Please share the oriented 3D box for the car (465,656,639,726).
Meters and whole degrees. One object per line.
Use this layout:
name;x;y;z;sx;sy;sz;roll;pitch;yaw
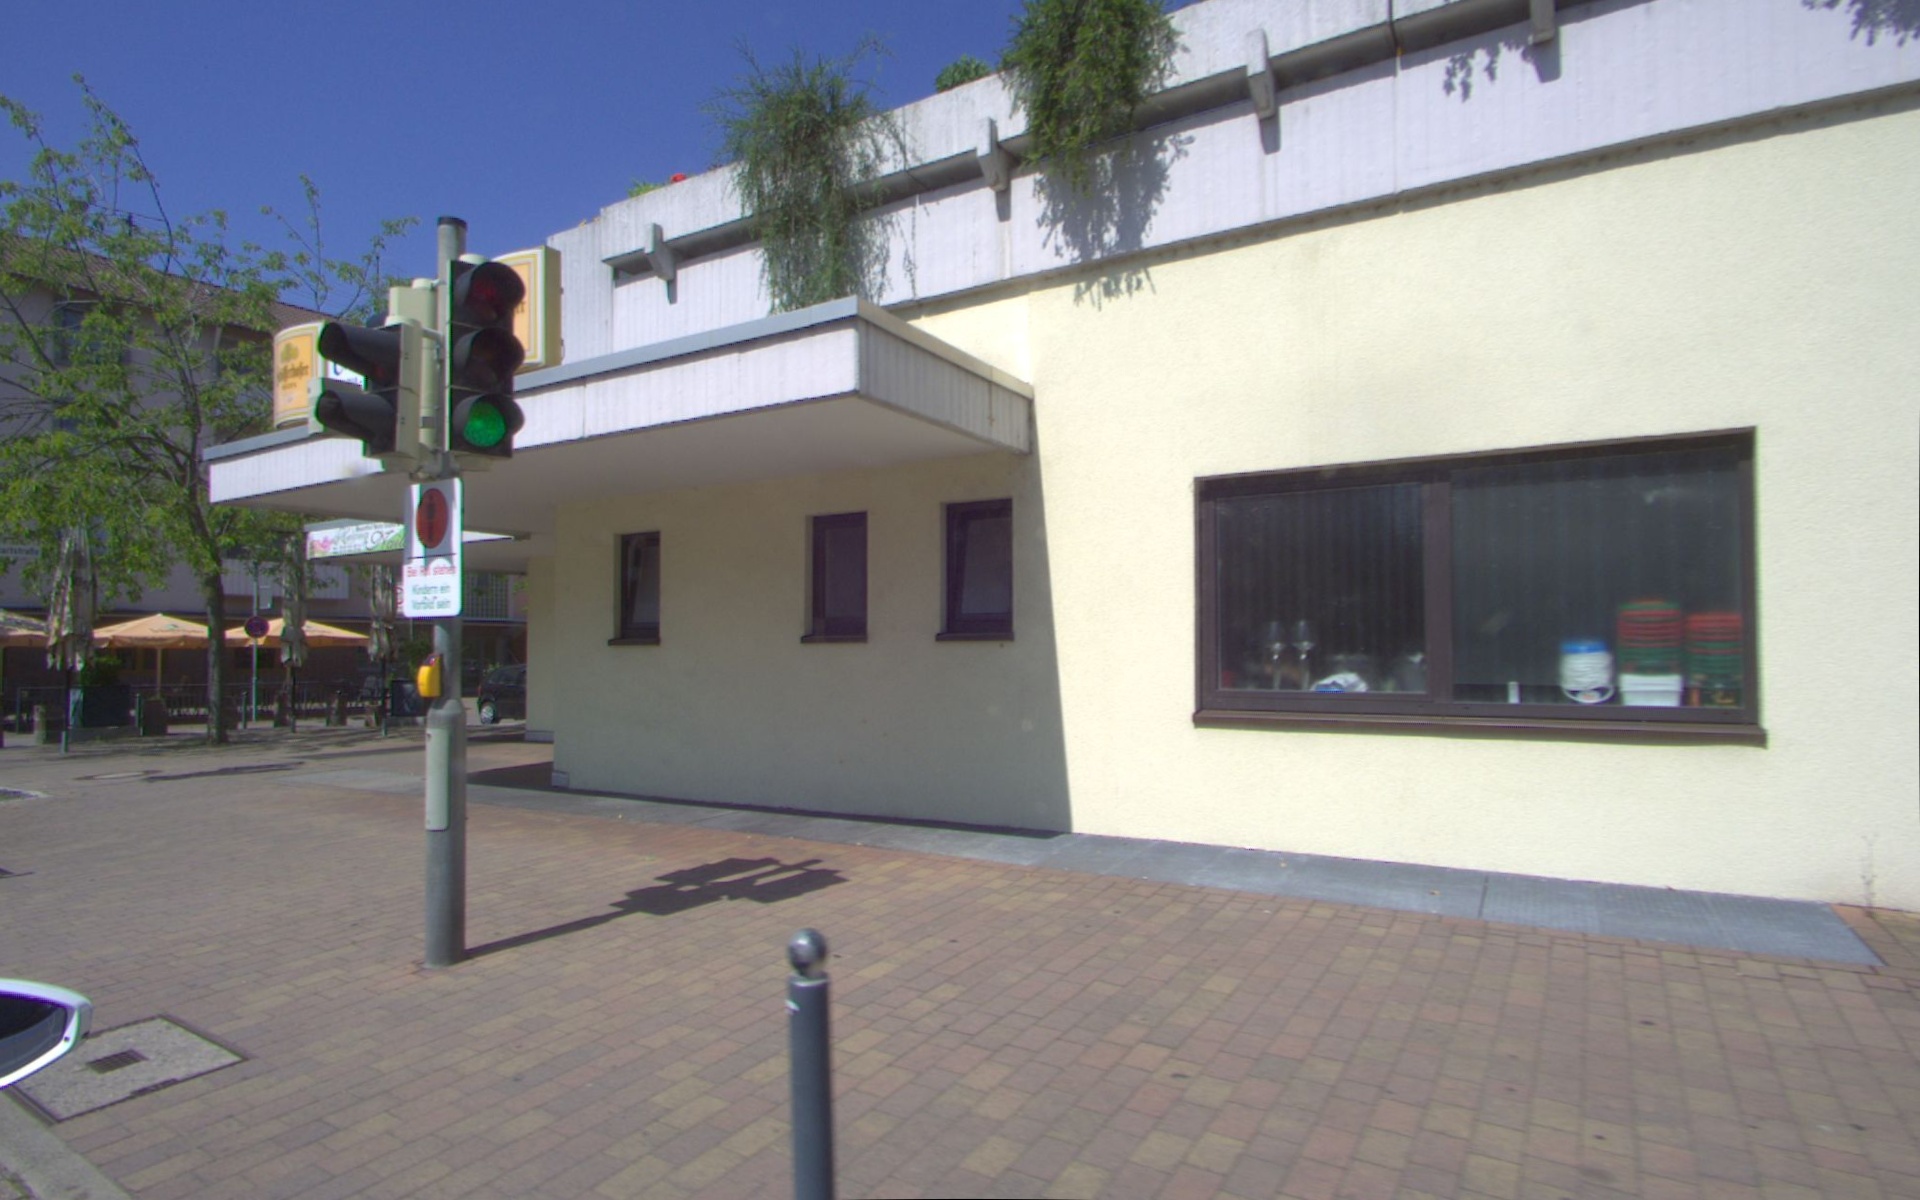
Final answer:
car;-9.665;2.128;23.701;3.912;1.528;1.766;-3;-4;29
